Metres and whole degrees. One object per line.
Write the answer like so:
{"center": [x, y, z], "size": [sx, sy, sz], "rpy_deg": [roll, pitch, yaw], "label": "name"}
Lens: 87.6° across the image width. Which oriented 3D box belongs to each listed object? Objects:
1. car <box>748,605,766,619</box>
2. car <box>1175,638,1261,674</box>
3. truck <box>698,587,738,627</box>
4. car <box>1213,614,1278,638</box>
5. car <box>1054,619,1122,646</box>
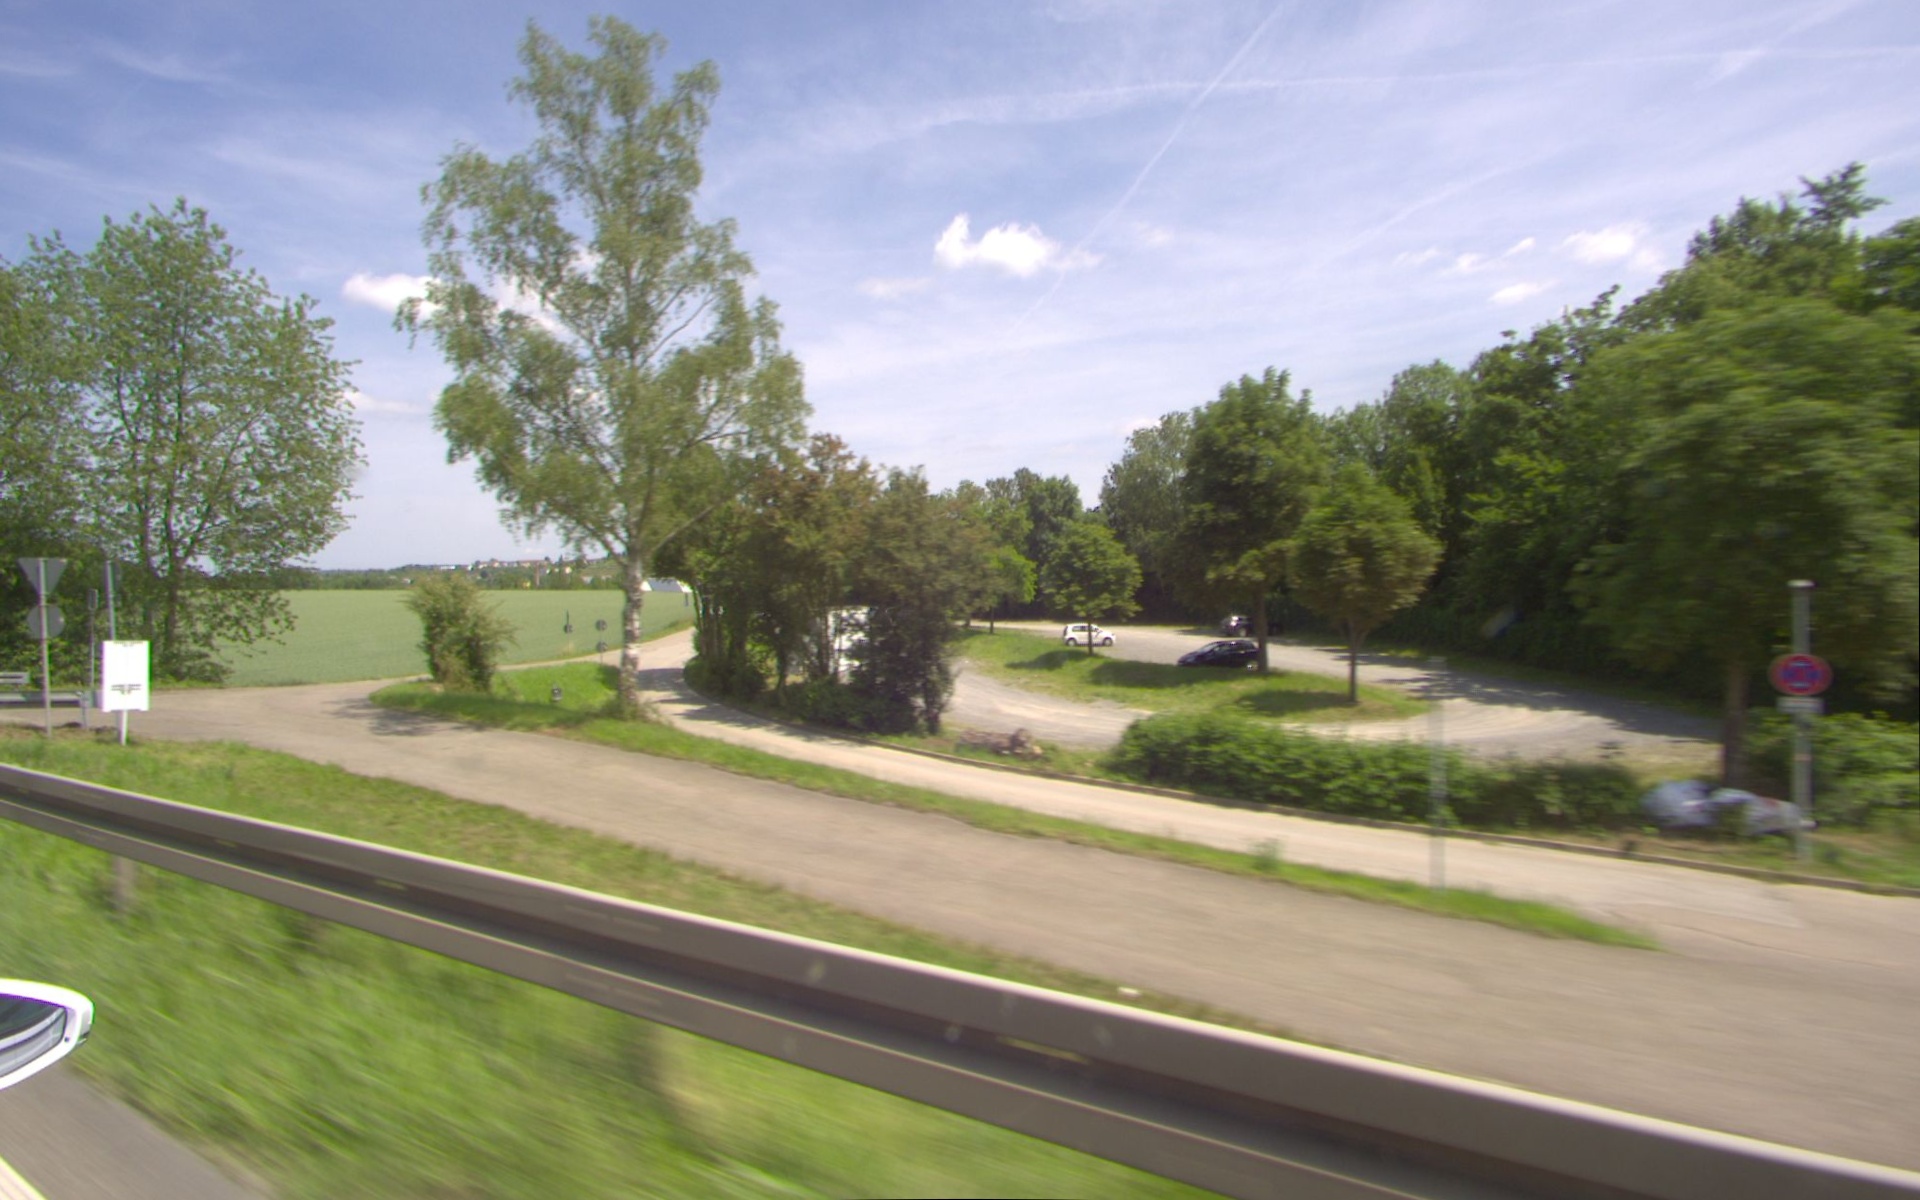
{"center": [-23.516, 1.366, 116.090], "size": [1.804, 1.427, 4.442], "rpy_deg": [-2, 1, -8], "label": "car"}
{"center": [12.307, 2.649, 47.834], "size": [3.624, 1.512, 1.693], "rpy_deg": [-1, 2, -3], "label": "car"}
{"center": [-24.821, 0.616, 102.956], "size": [3.092, 3.586, 7.129], "rpy_deg": [-2, 3, -7], "label": "truck"}
{"center": [20.162, 1.820, 70.735], "size": [4.092, 1.512, 1.898], "rpy_deg": [-2, 2, -16], "label": "car"}
{"center": [8.489, 2.146, 66.562], "size": [4.260, 1.681, 1.999], "rpy_deg": [-1, 2, -1], "label": "car"}
